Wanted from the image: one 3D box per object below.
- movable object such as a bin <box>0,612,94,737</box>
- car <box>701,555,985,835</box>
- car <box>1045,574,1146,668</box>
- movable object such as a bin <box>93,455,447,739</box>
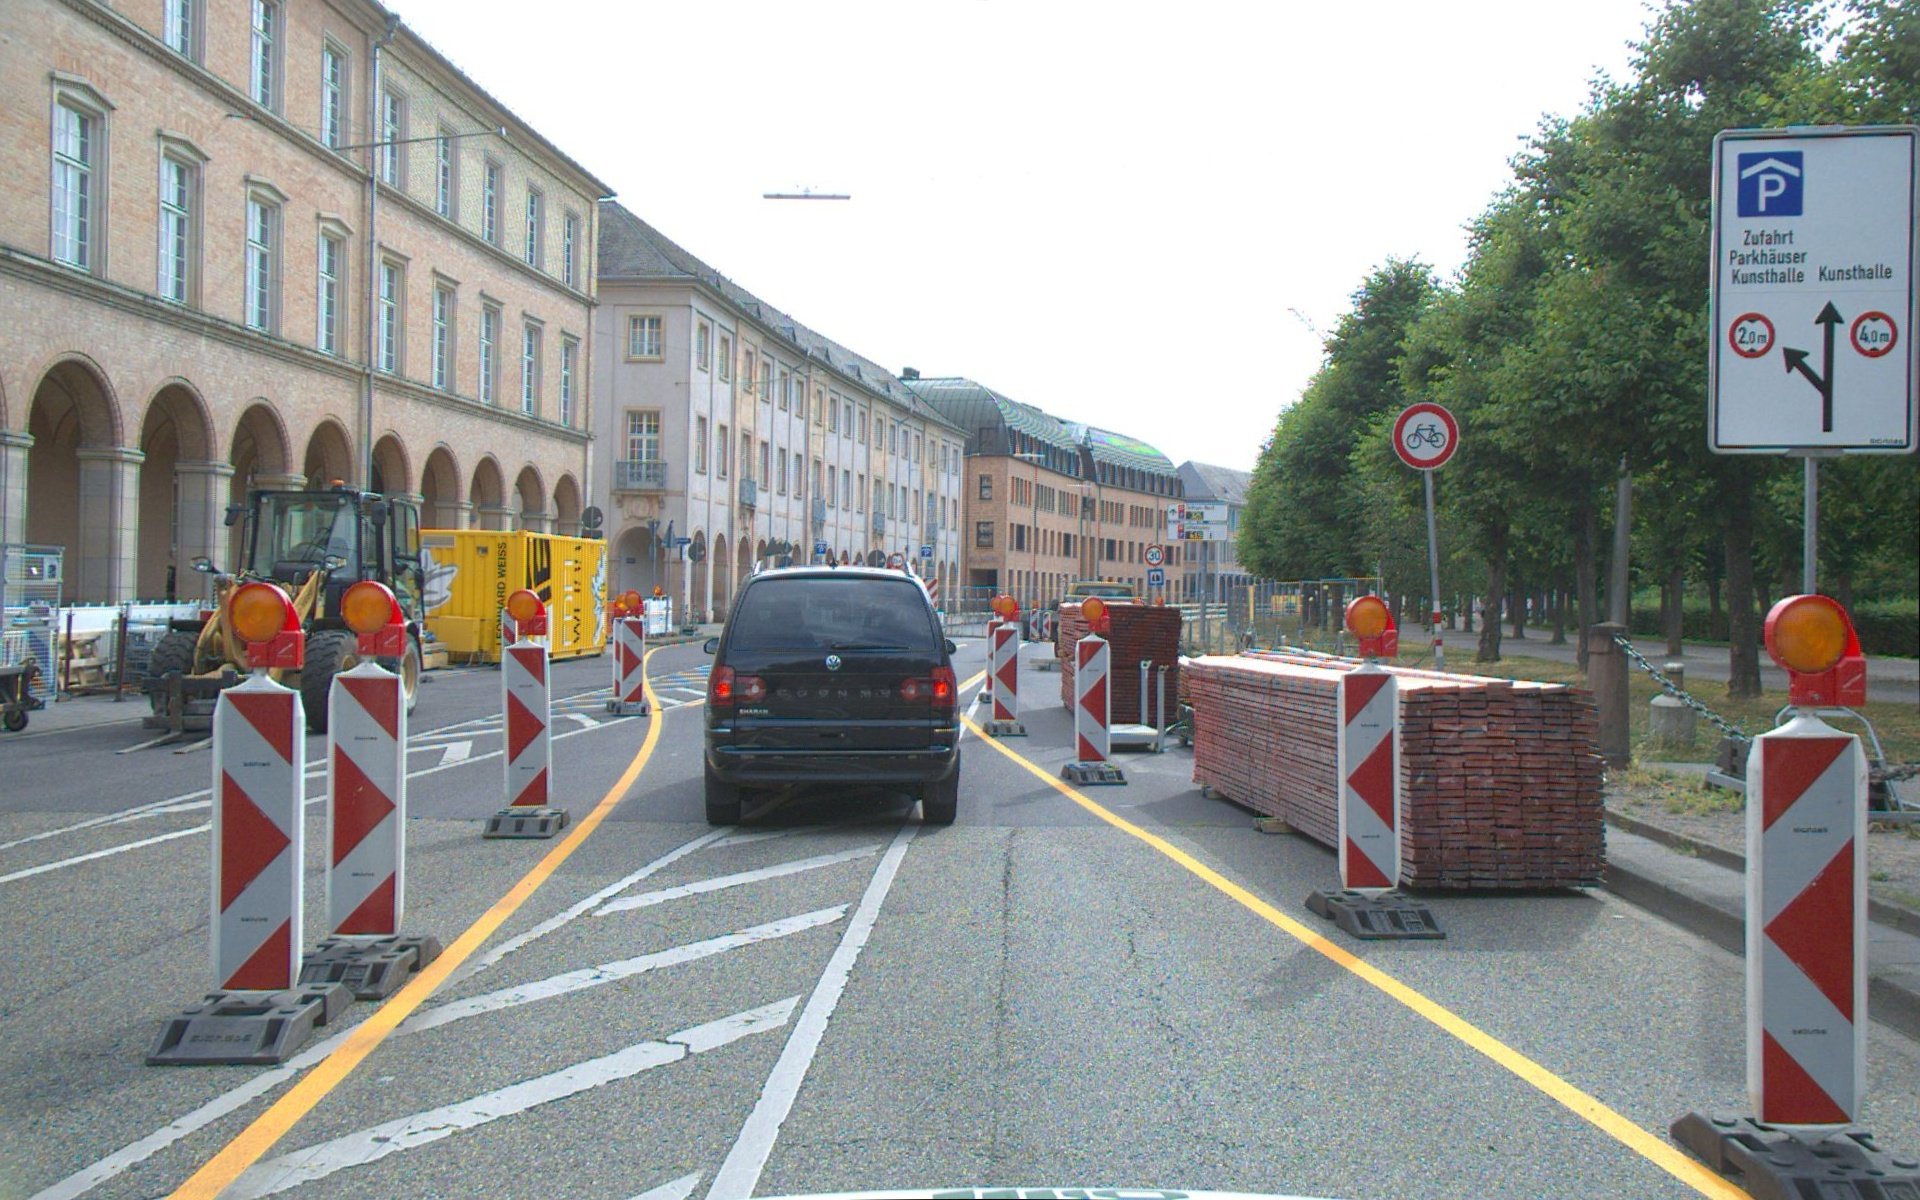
[{"bbox_3d":[-10.323,0.751,16.628,1.770,1.144,2.748,1,2,0],"label":"movable object such as a bin"},{"bbox_3d":[-0.905,0.588,12.428,1.758,1.738,4.127,1,0,-5],"label":"car"},{"bbox_3d":[3.194,0.446,39.849,1.953,2.048,4.345,1,2,-1],"label":"car"},{"bbox_3d":[-7.495,-0.025,18.567,2.073,2.766,4.618,1,0,-1],"label":"movable object such as a bin"}]
